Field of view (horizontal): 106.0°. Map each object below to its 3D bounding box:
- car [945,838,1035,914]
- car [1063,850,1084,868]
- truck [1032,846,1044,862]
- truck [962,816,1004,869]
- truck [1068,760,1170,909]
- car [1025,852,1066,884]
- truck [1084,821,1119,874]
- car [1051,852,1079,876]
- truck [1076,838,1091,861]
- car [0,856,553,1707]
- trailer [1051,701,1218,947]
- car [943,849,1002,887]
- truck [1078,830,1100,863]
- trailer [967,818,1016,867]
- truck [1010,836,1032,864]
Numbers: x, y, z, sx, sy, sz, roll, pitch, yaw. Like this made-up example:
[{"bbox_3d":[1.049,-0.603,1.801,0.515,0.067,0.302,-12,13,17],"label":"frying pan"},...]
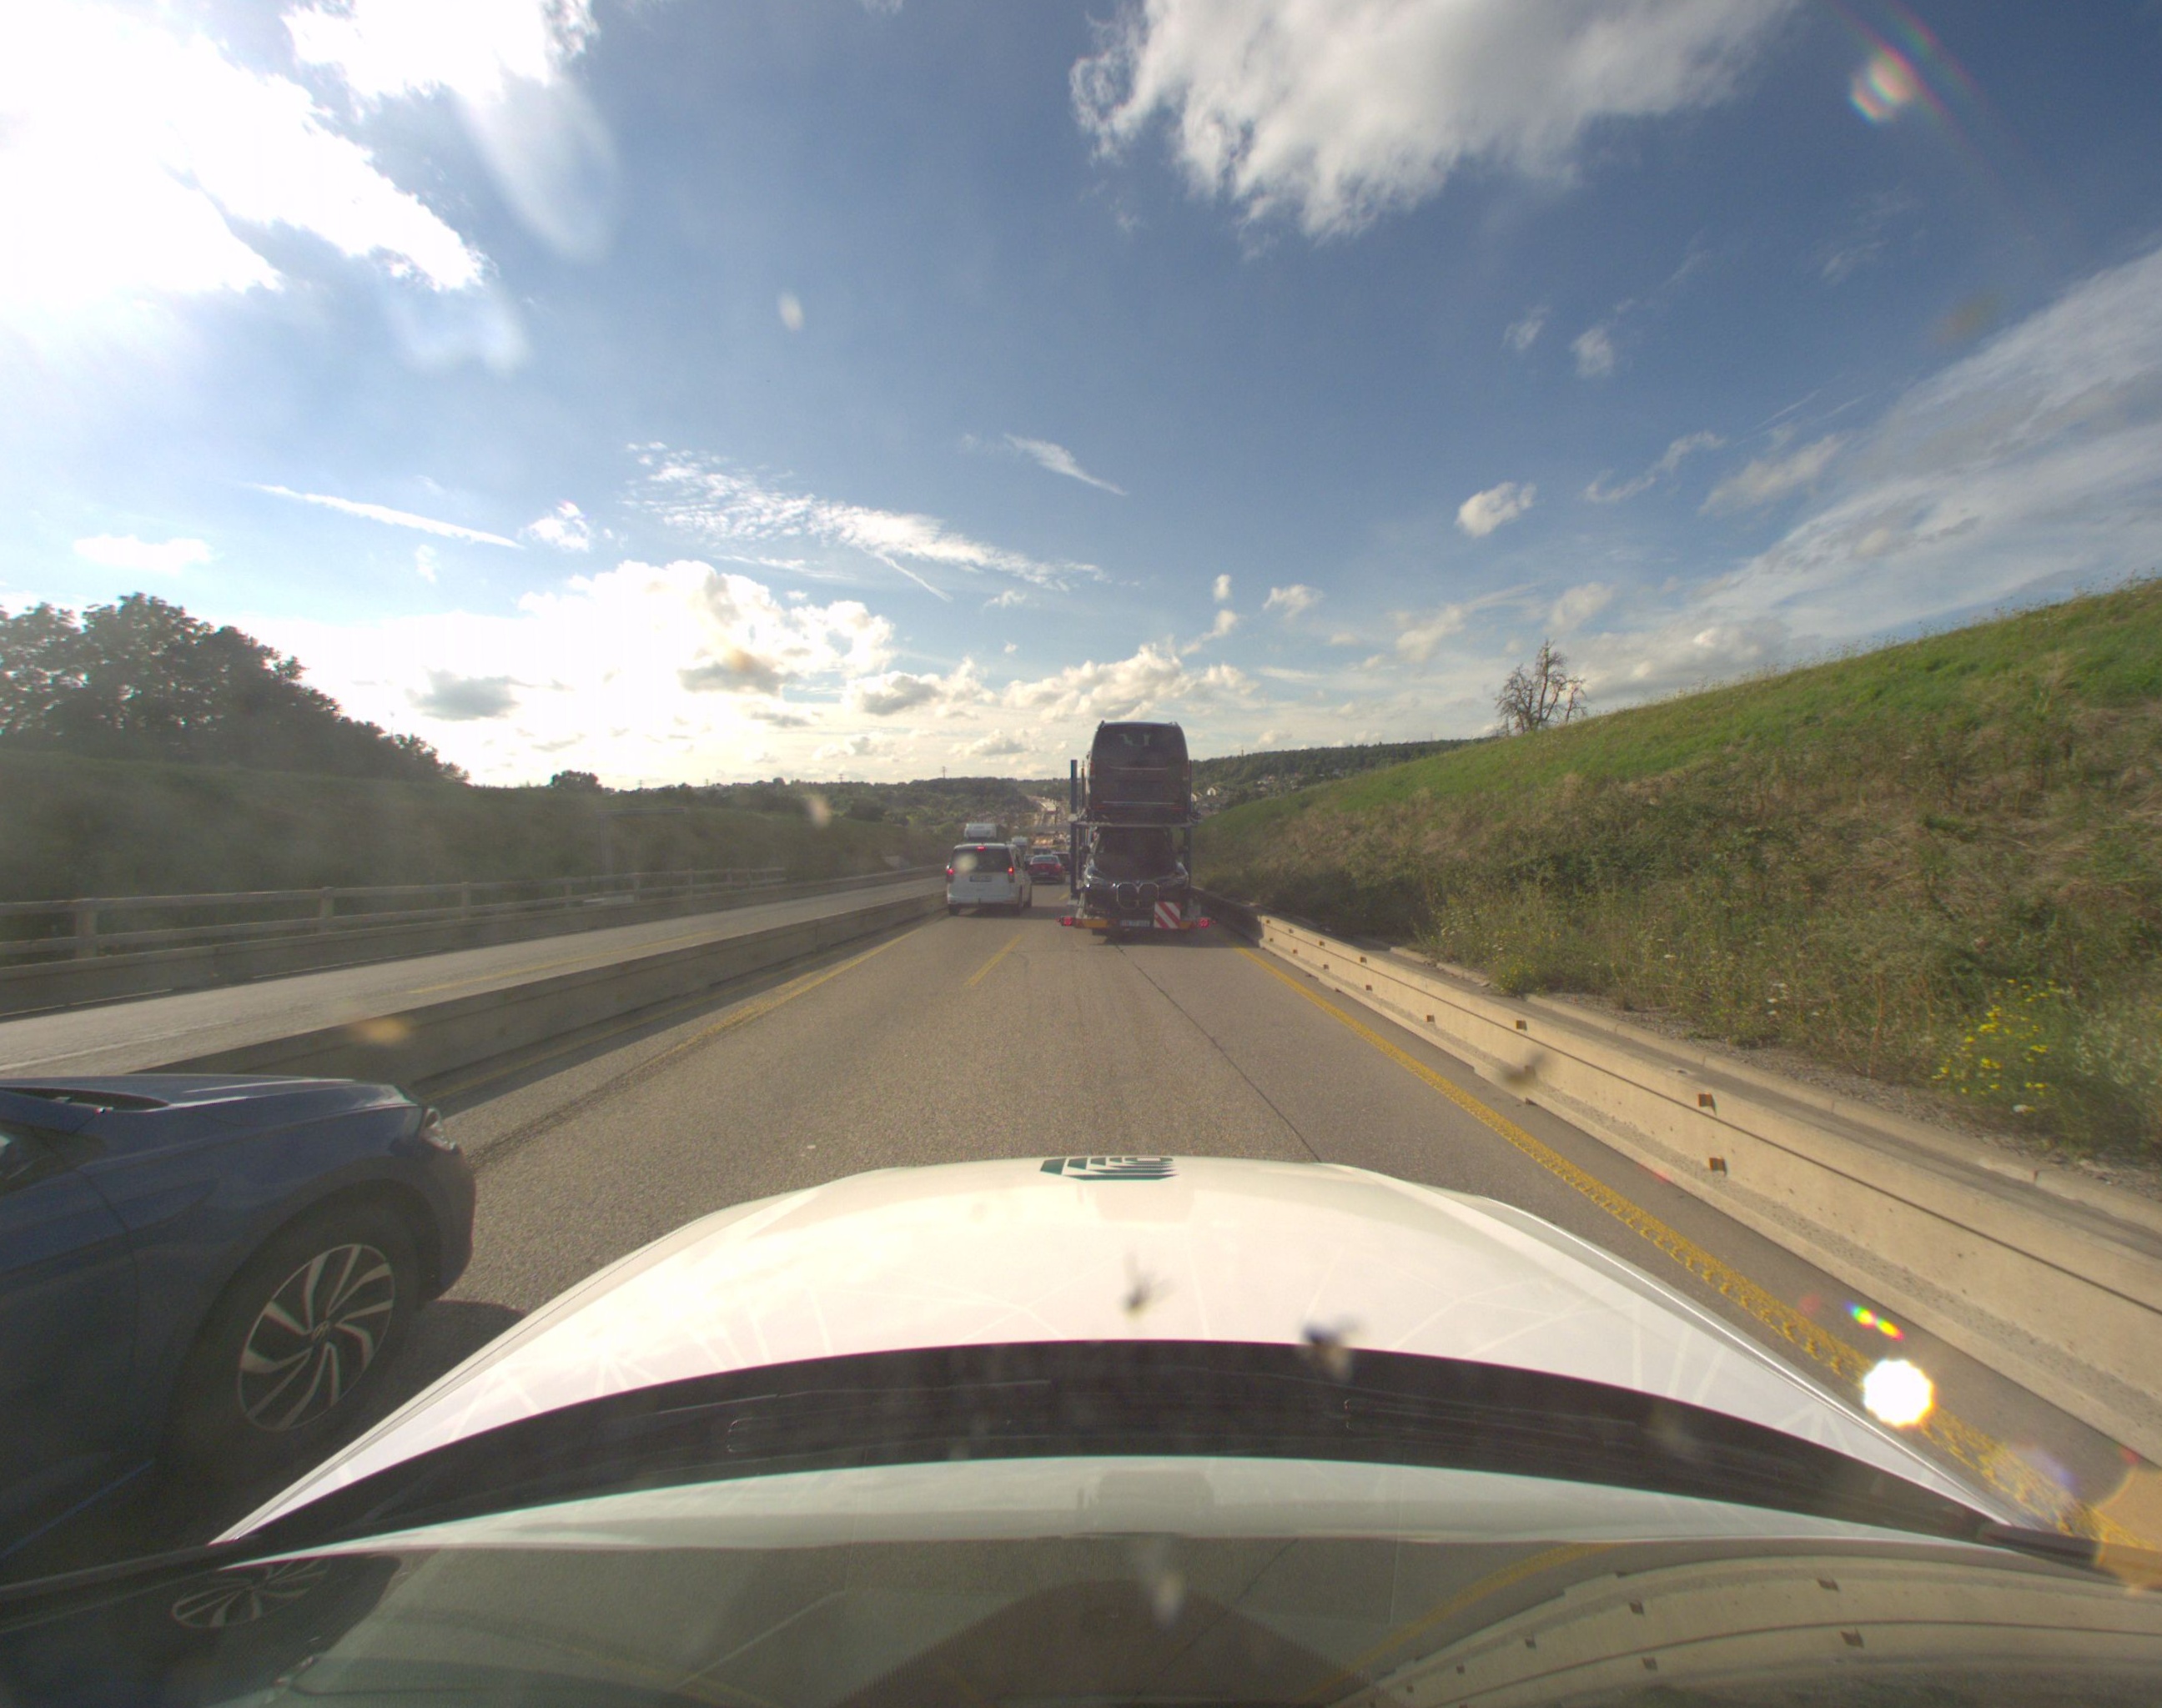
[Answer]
[{"bbox_3d":[-2.337,0.521,21.982,1.816,1.823,4.457,1,0,1],"label":"car"},{"bbox_3d":[-0.692,0.444,74.179,1.791,1.596,4.741,-1,0,-1],"label":"car"},{"bbox_3d":[-11.286,-0.078,215.091,2.631,4.099,10.813,-1,0,-1],"label":"truck"},{"bbox_3d":[-7.968,-0.923,66.654,2.605,4.153,5.782,-1,0,1],"label":"truck"},{"bbox_3d":[1.123,-0.524,24.724,2.668,3.922,6.030,-1,0,2],"label":"truck"},{"bbox_3d":[-1.772,0.679,41.963,1.816,1.492,4.685,1,0,1],"label":"car"},{"bbox_3d":[1.810,-0.587,77.581,2.855,4.570,11.652,-1,0,-1],"label":"truck"},{"bbox_3d":[-1.182,0.728,61.731,1.987,1.625,4.749,-2,0,0],"label":"car"},{"bbox_3d":[0.451,-0.904,168.951,2.855,4.570,11.652,-1,0,-1],"label":"truck"},{"bbox_3d":[-2.800,0.763,0.888,1.708,1.508,4.002,0,0,2],"label":"car"},{"bbox_3d":[1.012,-0.510,19.143,2.698,4.029,11.422,-1,0,1],"label":"trailer"},{"bbox_3d":[-5.353,0.617,40.865,1.940,1.746,5.583,0,1,3],"label":"car"},{"bbox_3d":[1.109,-1.050,120.768,2.855,4.570,11.652,-1,0,-1],"label":"truck"},{"bbox_3d":[-7.867,-0.918,73.333,2.605,3.954,13.875,-1,0,1],"label":"trailer"},{"bbox_3d":[-9.207,-0.634,126.250,2.630,4.099,10.814,-1,0,-1],"label":"truck"}]
